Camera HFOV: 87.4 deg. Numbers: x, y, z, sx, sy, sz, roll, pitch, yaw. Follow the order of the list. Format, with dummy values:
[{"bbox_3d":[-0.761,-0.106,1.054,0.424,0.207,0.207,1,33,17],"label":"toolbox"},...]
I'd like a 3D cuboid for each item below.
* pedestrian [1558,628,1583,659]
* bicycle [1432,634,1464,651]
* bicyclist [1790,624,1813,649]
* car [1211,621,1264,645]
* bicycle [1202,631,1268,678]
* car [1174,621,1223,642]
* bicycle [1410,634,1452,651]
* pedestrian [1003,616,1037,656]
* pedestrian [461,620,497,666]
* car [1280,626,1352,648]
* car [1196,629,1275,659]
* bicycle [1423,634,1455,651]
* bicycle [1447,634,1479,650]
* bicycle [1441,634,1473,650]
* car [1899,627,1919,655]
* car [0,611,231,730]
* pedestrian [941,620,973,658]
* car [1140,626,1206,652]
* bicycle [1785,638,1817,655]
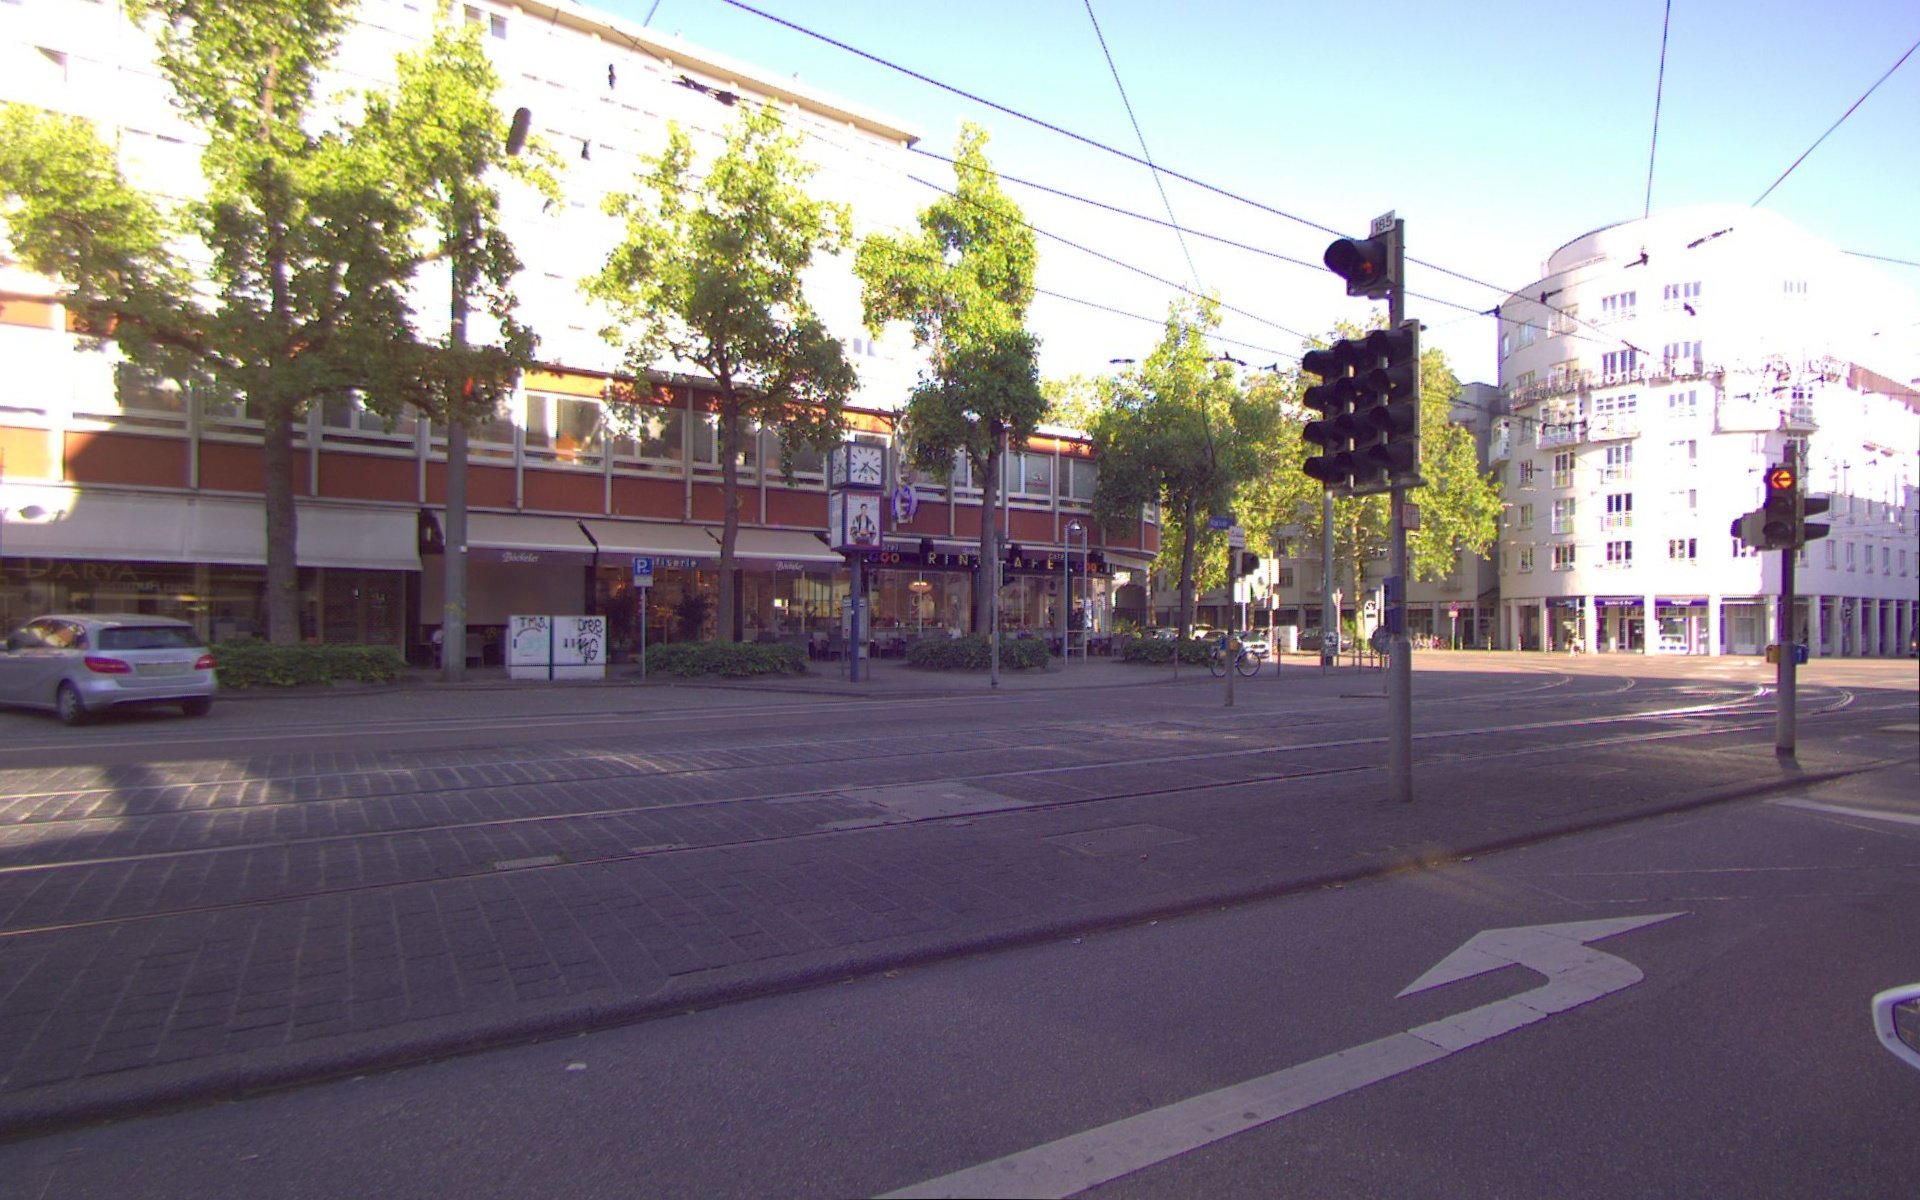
[{"bbox_3d":[33.754,2.404,55.532,0.687,1.704,0.866,-1,-1,-24],"label":"pedestrian"},{"bbox_3d":[34.331,2.974,70.619,0.808,1.122,1.934,1,-1,-27],"label":"bicycle"},{"bbox_3d":[50.413,2.165,60.187,0.886,1.486,0.836,1,-1,-32],"label":"bicyclist"},{"bbox_3d":[20.914,2.467,75.649,3.960,1.738,1.783,2,-2,-35],"label":"car"},{"bbox_3d":[7.538,1.474,27.509,1.833,1.251,0.578,1,0,-28],"label":"bicycle"},{"bbox_3d":[19.906,2.641,83.673,3.960,1.738,1.783,2,-2,-35],"label":"car"},{"bbox_3d":[32.319,2.927,68.919,2.410,1.122,0.932,-1,-2,44],"label":"bicycle"},{"bbox_3d":[2.176,1.303,36.590,0.880,1.414,0.929,1,-1,-31],"label":"pedestrian"},{"bbox_3d":[-12.645,1.129,26.396,0.721,1.187,0.771,1,-1,-36],"label":"pedestrian"},{"bbox_3d":[23.718,2.458,67.003,1.867,1.440,4.423,0,-2,-28],"label":"car"},{"bbox_3d":[13.987,2.218,51.213,1.860,1.440,4.442,1,-2,-16],"label":"car"},{"bbox_3d":[33.473,2.963,70.150,0.808,1.122,1.934,1,-1,-27],"label":"bicycle"},{"bbox_3d":[35.971,3.000,71.912,0.809,1.122,1.933,1,-1,-30],"label":"bicycle"},{"bbox_3d":[35.292,2.989,71.379,0.809,1.122,1.933,1,-1,-30],"label":"bicycle"},{"bbox_3d":[58.789,2.456,60.740,4.463,1.641,1.982,1,-2,-34],"label":"car"},{"bbox_3d":[-13.468,0.998,15.630,3.925,1.574,1.796,1,0,26],"label":"car"},{"bbox_3d":[-0.098,1.354,34.791,0.893,1.280,0.837,1,-1,-17],"label":"pedestrian"},{"bbox_3d":[12.258,2.229,58.093,1.860,1.440,4.442,1,-2,-16],"label":"car"},{"bbox_3d":[50.399,2.775,60.174,2.240,0.939,0.836,1,-1,-32],"label":"bicycle"}]
